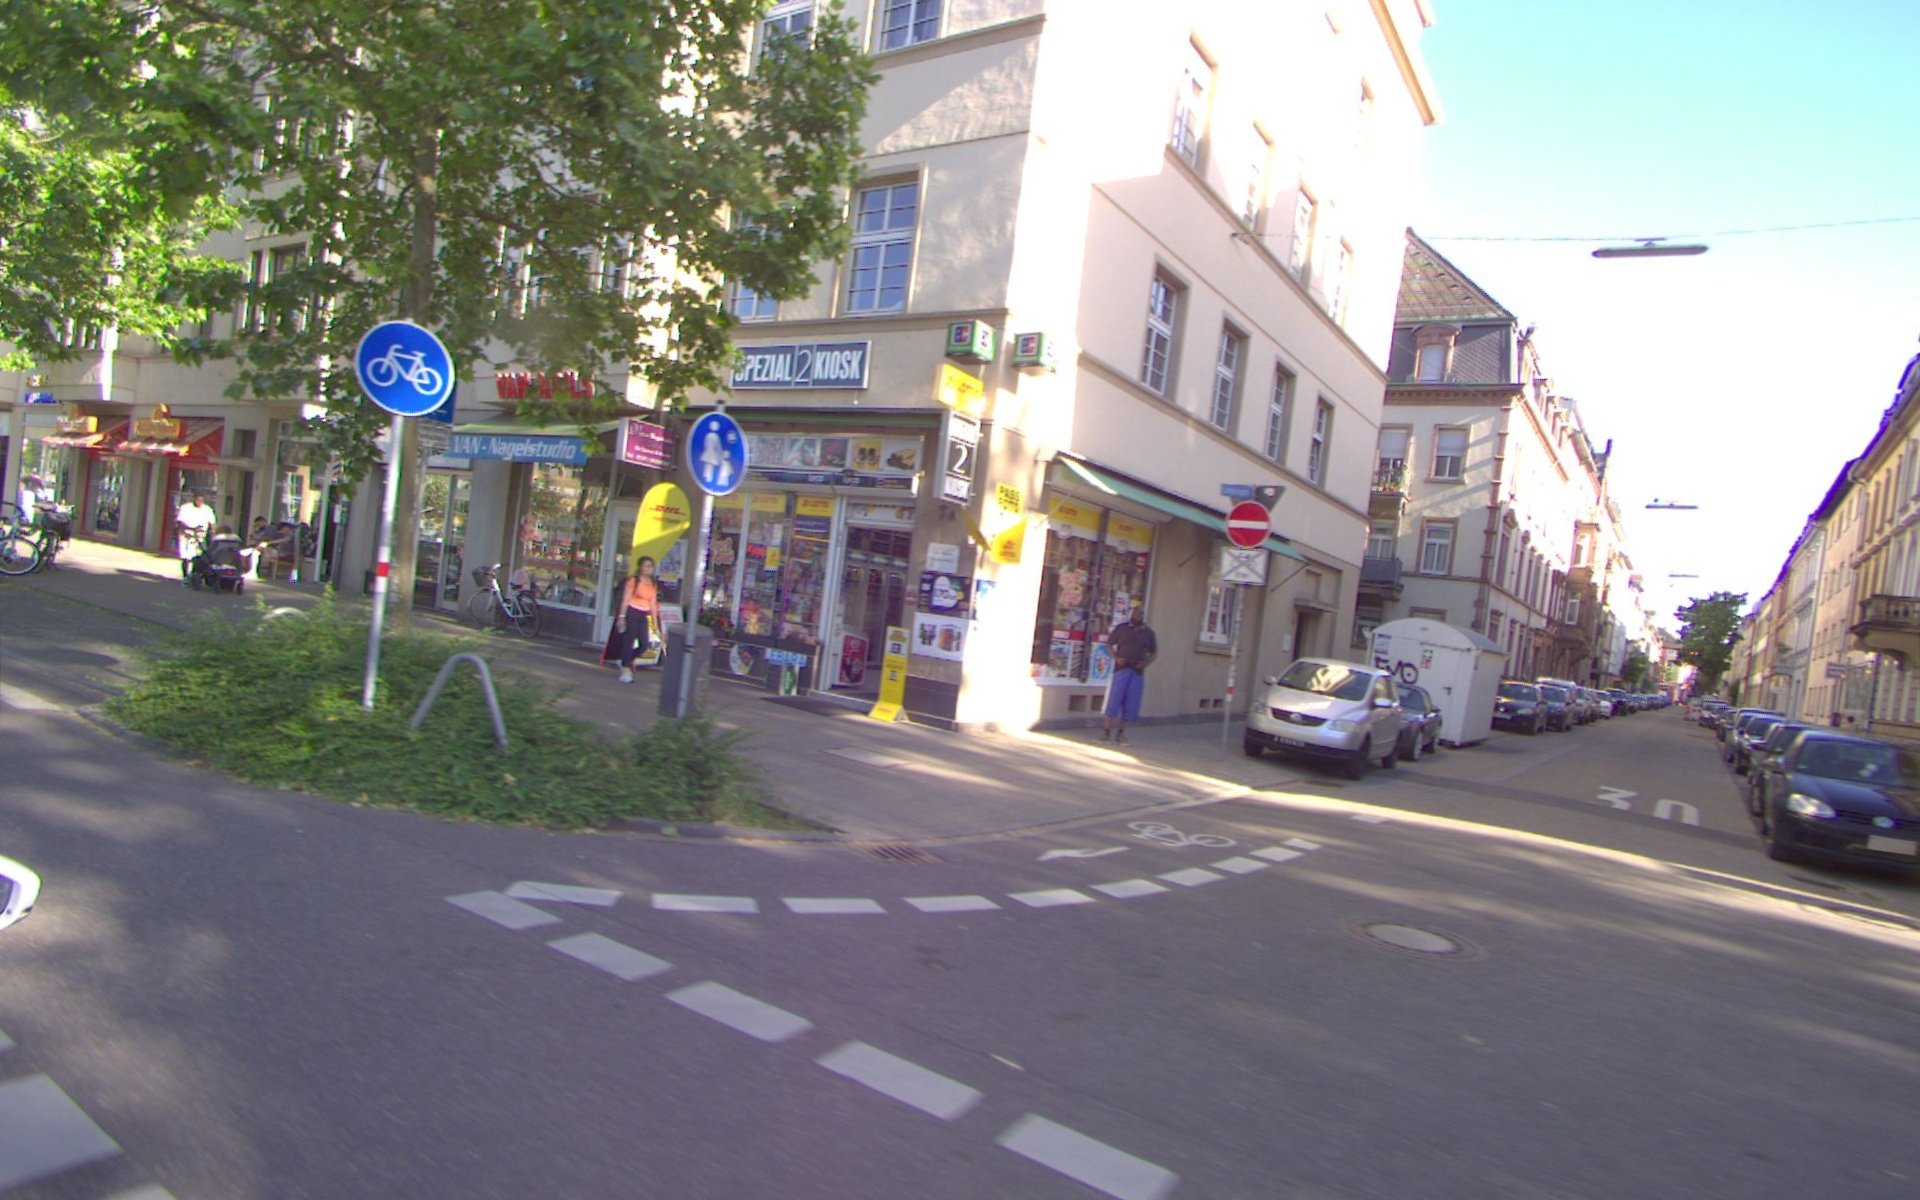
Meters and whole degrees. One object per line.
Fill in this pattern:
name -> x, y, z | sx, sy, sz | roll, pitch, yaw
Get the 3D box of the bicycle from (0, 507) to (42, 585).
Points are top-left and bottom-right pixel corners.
bicycle -> -16.125, -0.950, 16.901 | 1.870, 1.230, 0.392 | 6, 1, 28

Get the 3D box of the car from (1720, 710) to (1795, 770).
car -> 23.139, 4.000, 29.152 | 1.492, 1.408, 3.446 | 7, 0, 40

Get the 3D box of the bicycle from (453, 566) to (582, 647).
bicycle -> -7.258, 0.092, 16.434 | 2.579, 1.037, 0.490 | 7, 2, 32

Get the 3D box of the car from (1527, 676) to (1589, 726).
car -> 23.446, 3.944, 39.390 | 1.658, 1.615, 3.703 | 7, 0, 35

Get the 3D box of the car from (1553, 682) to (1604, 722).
car -> 29.375, 4.819, 47.745 | 1.658, 1.615, 3.703 | 7, 0, 35

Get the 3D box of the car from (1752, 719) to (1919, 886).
car -> 10.451, 2.252, 11.765 | 1.611, 1.429, 3.909 | 7, 0, 37

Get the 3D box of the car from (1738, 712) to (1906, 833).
car -> 13.684, 2.647, 16.171 | 1.675, 1.422, 3.986 | 7, 0, 38

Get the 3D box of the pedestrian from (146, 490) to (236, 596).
pedestrian -> -13.681, -1.005, 17.903 | 0.901, 1.726, 0.860 | 7, 1, 30

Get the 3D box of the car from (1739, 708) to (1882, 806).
car -> 16.688, 3.059, 19.922 | 1.746, 1.458, 3.990 | 7, -2, 37

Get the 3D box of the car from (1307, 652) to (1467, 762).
car -> 8.145, 1.981, 18.987 | 1.815, 1.615, 3.988 | 7, 0, 35

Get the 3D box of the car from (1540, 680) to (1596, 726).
car -> 25.886, 4.372, 42.788 | 1.658, 1.615, 3.703 | 7, 0, 35

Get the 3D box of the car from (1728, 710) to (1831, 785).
car -> 20.396, 3.628, 25.170 | 1.678, 1.485, 3.764 | 7, -1, 37

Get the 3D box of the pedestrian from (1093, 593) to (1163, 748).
pedestrian -> 2.221, 0.925, 13.255 | 0.577, 1.925, 0.553 | 7, -1, 21

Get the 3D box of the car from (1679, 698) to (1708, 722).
car -> 59.838, 8.977, 82.031 | 1.576, 1.659, 3.337 | 7, 0, 39

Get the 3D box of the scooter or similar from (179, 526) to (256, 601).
scooter or similar -> -12.880, -0.624, 17.459 | 0.834, 1.187, 0.745 | 7, 3, 29

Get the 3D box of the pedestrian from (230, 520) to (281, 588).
pedestrian -> -15.122, -0.980, 21.599 | 0.807, 1.349, 0.535 | 7, 2, 32

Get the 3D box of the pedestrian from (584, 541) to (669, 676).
pedestrian -> -4.264, 0.117, 12.883 | 0.553, 1.641, 0.683 | 7, 1, 29

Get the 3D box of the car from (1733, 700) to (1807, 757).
car -> 27.889, 4.435, 34.745 | 1.666, 1.633, 3.973 | 7, -2, 37

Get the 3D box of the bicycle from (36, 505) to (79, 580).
bicycle -> -15.975, -1.038, 17.821 | 0.384, 1.222, 1.852 | 6, 1, -39

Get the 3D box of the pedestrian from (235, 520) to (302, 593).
pedestrian -> -14.453, -0.898, 21.037 | 0.843, 1.386, 0.785 | 7, 1, 32

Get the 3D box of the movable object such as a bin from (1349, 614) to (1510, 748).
movable object such as a bin -> 10.693, 1.815, 22.756 | 2.505, 2.576, 3.778 | 5, -2, 35

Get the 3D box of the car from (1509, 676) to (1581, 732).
car -> 20.102, 3.551, 34.523 | 1.685, 1.562, 3.690 | 7, 0, 35

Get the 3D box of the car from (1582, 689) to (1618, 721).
car -> 35.548, 5.840, 55.837 | 1.419, 1.458, 2.994 | 7, -2, 35

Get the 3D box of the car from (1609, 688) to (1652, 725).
car -> 40.828, 6.439, 61.274 | 1.968, 1.905, 3.990 | 7, 0, 34

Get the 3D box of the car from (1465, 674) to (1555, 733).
car -> 16.944, 3.151, 30.900 | 1.875, 1.425, 3.988 | 7, 0, 35

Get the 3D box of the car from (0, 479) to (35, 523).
car -> -44.391, -4.683, 44.723 | 1.962, 1.809, 4.306 | 7, -1, 32

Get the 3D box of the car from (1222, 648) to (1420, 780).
car -> 5.459, 1.630, 14.912 | 1.640, 1.492, 3.941 | 7, 0, 35
